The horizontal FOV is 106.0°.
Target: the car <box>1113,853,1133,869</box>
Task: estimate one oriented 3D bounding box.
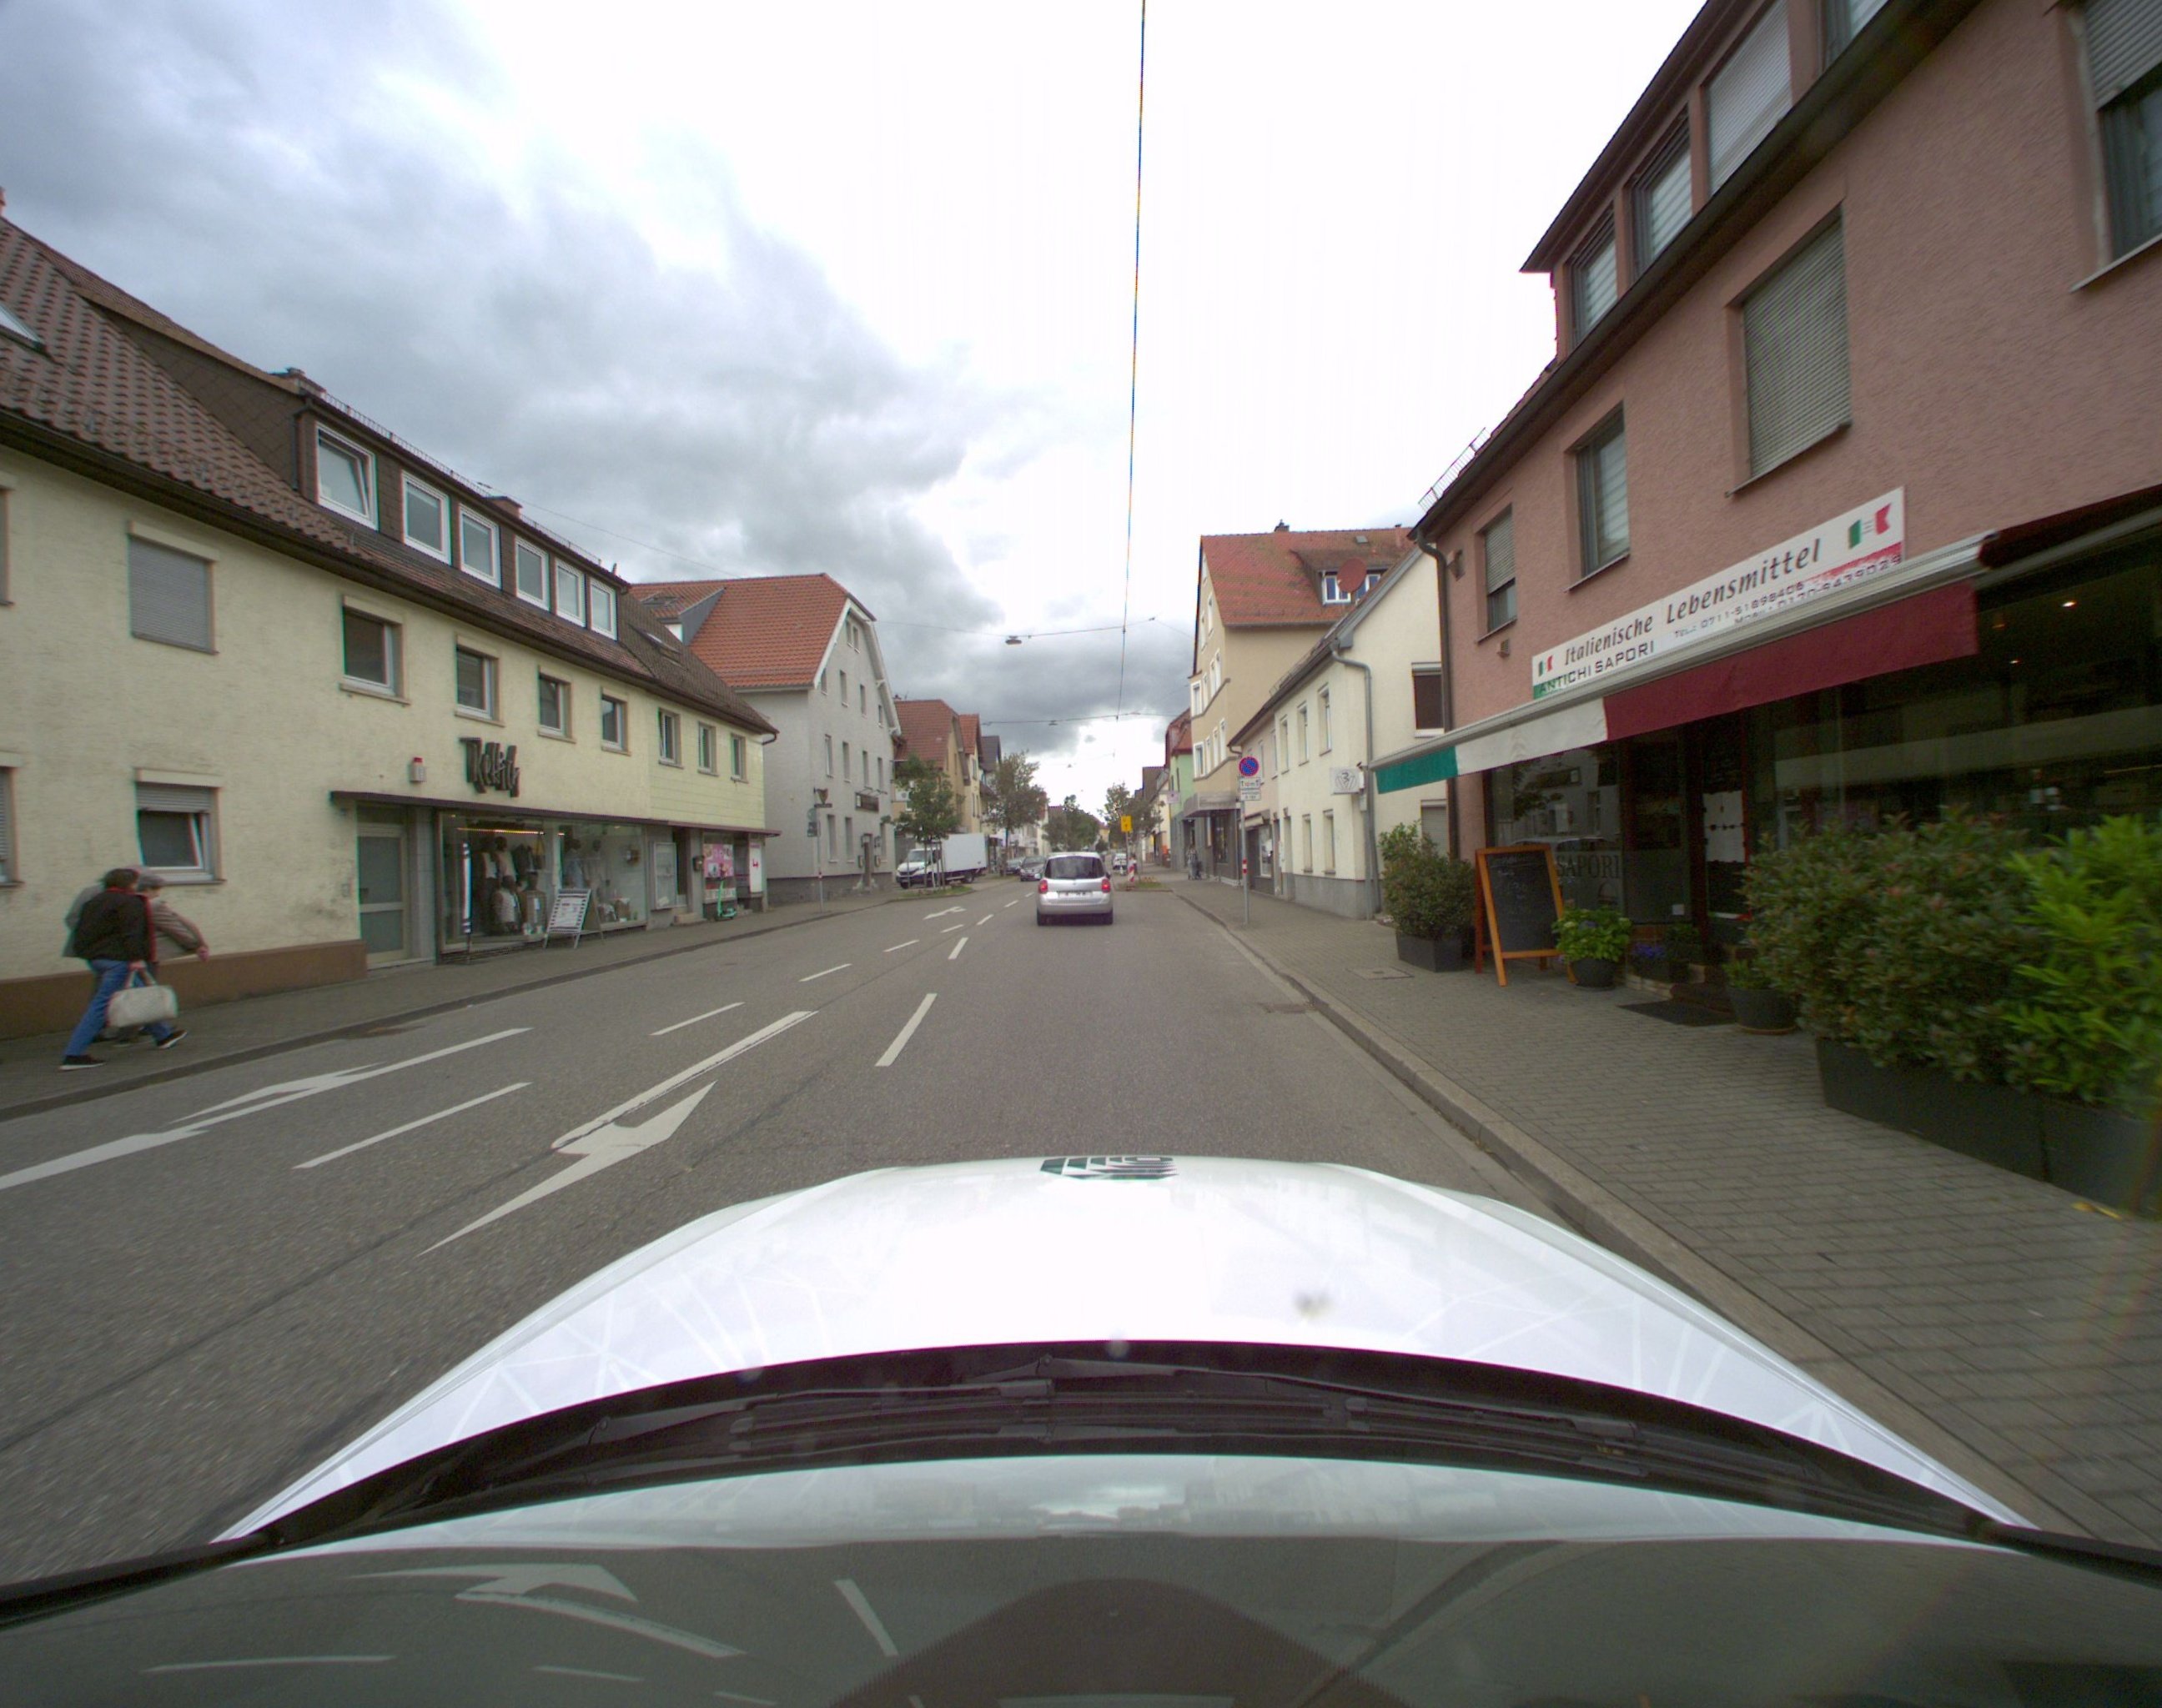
[{"bbox_3d":[3.964,0.671,77.088,1.824,1.446,4.334,0,0,3],"label":"car"}]

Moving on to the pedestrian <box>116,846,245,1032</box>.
[{"bbox_3d":[-8.801,0.799,7.979,0.494,1.737,0.648,-2,0,1],"label":"pedestrian"}]

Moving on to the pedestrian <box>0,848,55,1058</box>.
[{"bbox_3d":[-9.212,0.824,6.749,0.551,1.737,0.648,-2,0,1],"label":"pedestrian"}]

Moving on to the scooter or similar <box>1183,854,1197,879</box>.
[{"bbox_3d":[5.353,0.604,40.025,0.587,1.233,0.891,-1,-1,1],"label":"scooter or similar"}]

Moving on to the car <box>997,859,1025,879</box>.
[{"bbox_3d":[-5.487,1.155,63.942,1.676,1.424,3.932,-3,0,1],"label":"car"}]

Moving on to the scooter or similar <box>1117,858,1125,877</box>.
[{"bbox_3d":[2.660,0.879,54.260,0.500,1.235,1.943,-1,0,1],"label":"scooter or similar"}]

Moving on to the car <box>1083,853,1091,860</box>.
[{"bbox_3d":[1.562,0.640,215.295,1.893,1.737,4.369,-3,0,3],"label":"car"}]

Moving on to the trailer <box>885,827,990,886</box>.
[{"bbox_3d":[-8.356,0.155,48.438,2.480,3.219,7.176,-1,0,25],"label":"trailer"}]

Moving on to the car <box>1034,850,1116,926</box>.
[{"bbox_3d":[-0.043,0.716,18.947,1.675,1.566,3.996,0,0,3],"label":"car"}]

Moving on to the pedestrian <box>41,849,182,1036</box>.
[{"bbox_3d":[-9.451,0.833,7.962,0.551,1.737,0.648,-2,0,1],"label":"pedestrian"}]

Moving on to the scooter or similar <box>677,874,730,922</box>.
[{"bbox_3d":[-9.805,1.127,21.218,0.526,1.170,1.722,-1,0,2],"label":"scooter or similar"}]

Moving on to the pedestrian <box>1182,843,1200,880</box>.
[{"bbox_3d":[5.264,0.364,39.098,0.747,1.720,0.900,-1,-1,2],"label":"pedestrian"}]

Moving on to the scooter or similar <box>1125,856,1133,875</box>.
[{"bbox_3d":[3.191,0.773,54.258,0.500,1.235,1.943,-1,0,1],"label":"scooter or similar"}]

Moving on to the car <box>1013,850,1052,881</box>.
[{"bbox_3d":[-3.036,0.704,51.971,1.986,1.796,4.279,-2,0,2],"label":"car"}]

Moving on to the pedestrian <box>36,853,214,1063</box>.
[{"bbox_3d":[-8.389,0.869,7.181,0.675,1.737,0.717,-2,0,1],"label":"pedestrian"}]
